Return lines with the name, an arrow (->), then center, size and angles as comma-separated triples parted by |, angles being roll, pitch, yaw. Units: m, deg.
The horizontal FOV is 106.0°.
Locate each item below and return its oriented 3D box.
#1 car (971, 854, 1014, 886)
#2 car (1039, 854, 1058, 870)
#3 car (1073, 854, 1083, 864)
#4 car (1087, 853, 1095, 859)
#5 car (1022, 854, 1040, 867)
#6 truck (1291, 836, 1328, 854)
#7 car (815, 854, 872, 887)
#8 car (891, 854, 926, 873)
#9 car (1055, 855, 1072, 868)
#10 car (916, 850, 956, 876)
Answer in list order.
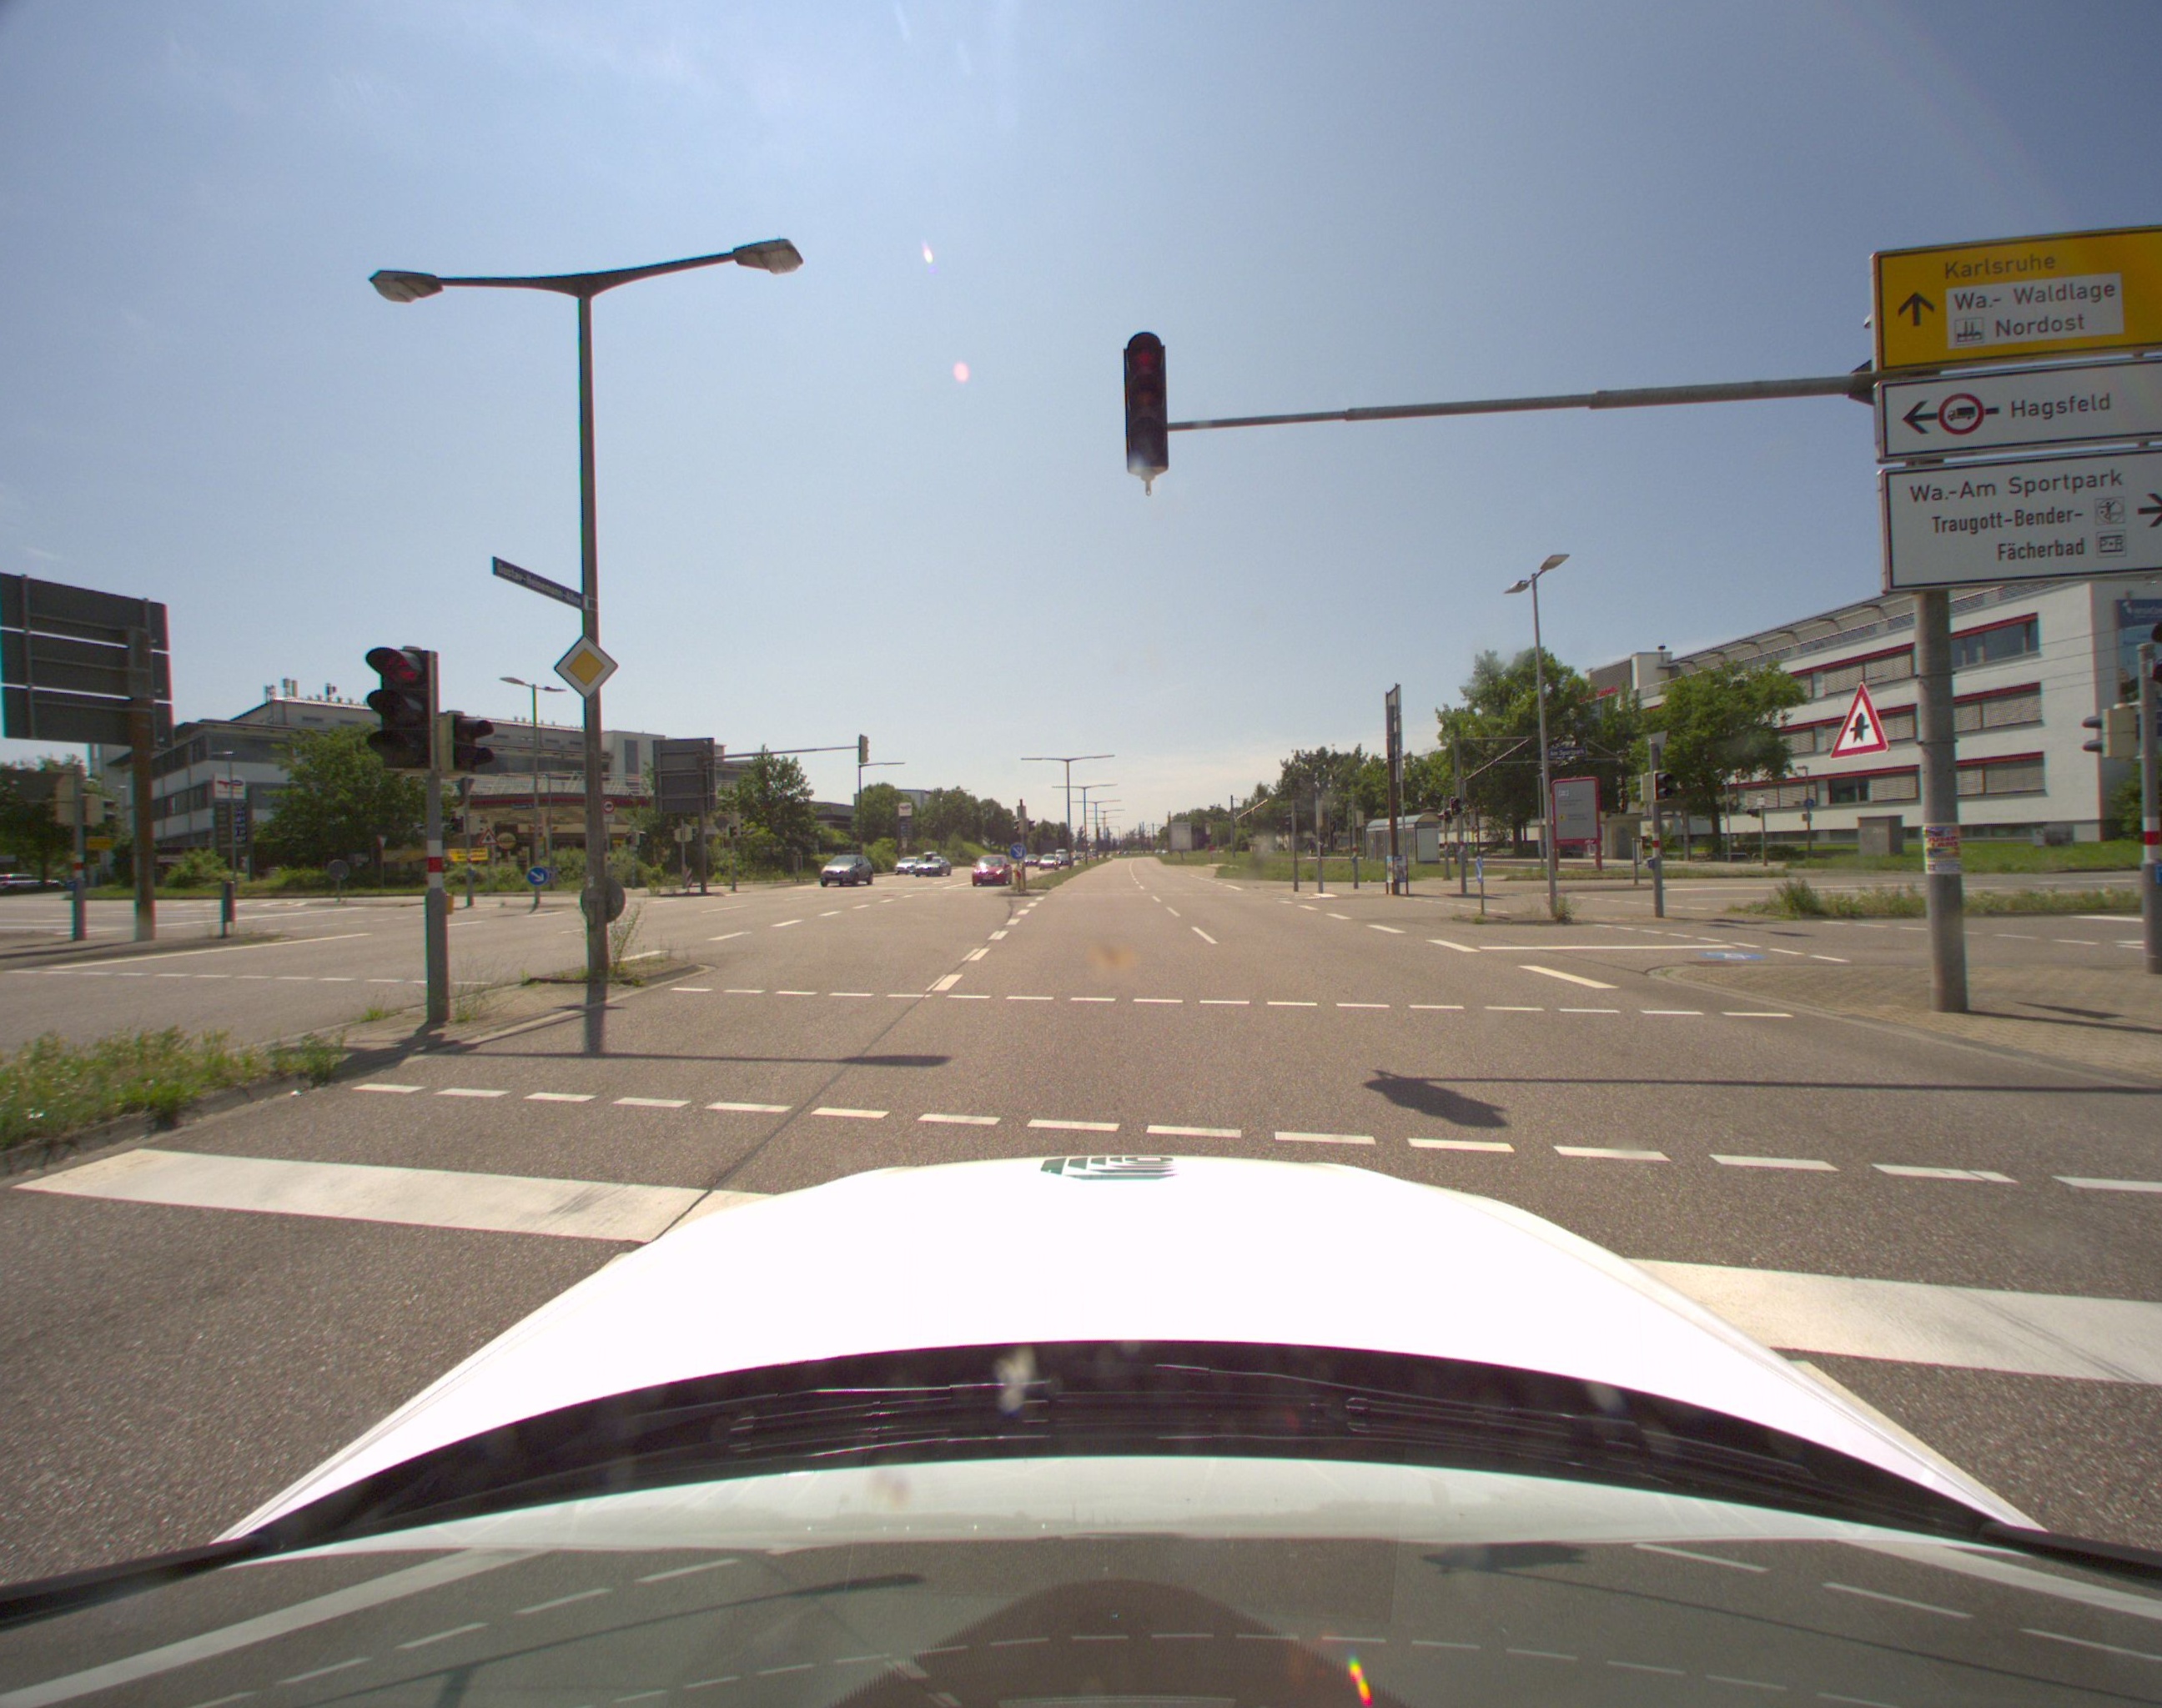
car -> -4.432, 0.754, 41.312 | 1.652, 1.490, 4.001 | -2, 0, 1
car -> -2.965, 0.736, 75.320 | 1.555, 1.423, 3.855 | -1, 1, 1
car -> -0.580, 1.000, 166.690 | 1.988, 2.014, 3.997 | 0, -1, -1
car -> 2.871, 0.603, 235.095 | 1.722, 1.458, 4.571 | -2, 0, 5
car -> -5.763, 0.752, 94.035 | 1.631, 1.429, 4.054 | -2, 0, 2
truck -> 41.148, -1.610, 146.767 | 5.831, 2.843, 2.316 | -3, -1, -5
car -> -12.058, 0.815, 41.673 | 1.652, 1.539, 4.001 | -1, 0, 1
car -> -14.472, 0.790, 68.390 | 1.814, 1.449, 3.832 | -1, -1, 5
car -> -1.941, 0.823, 91.697 | 1.669, 1.434, 4.192 | -1, 0, 2
car -> -10.666, 0.634, 60.225 | 1.958, 1.750, 5.023 | -2, 0, 1
